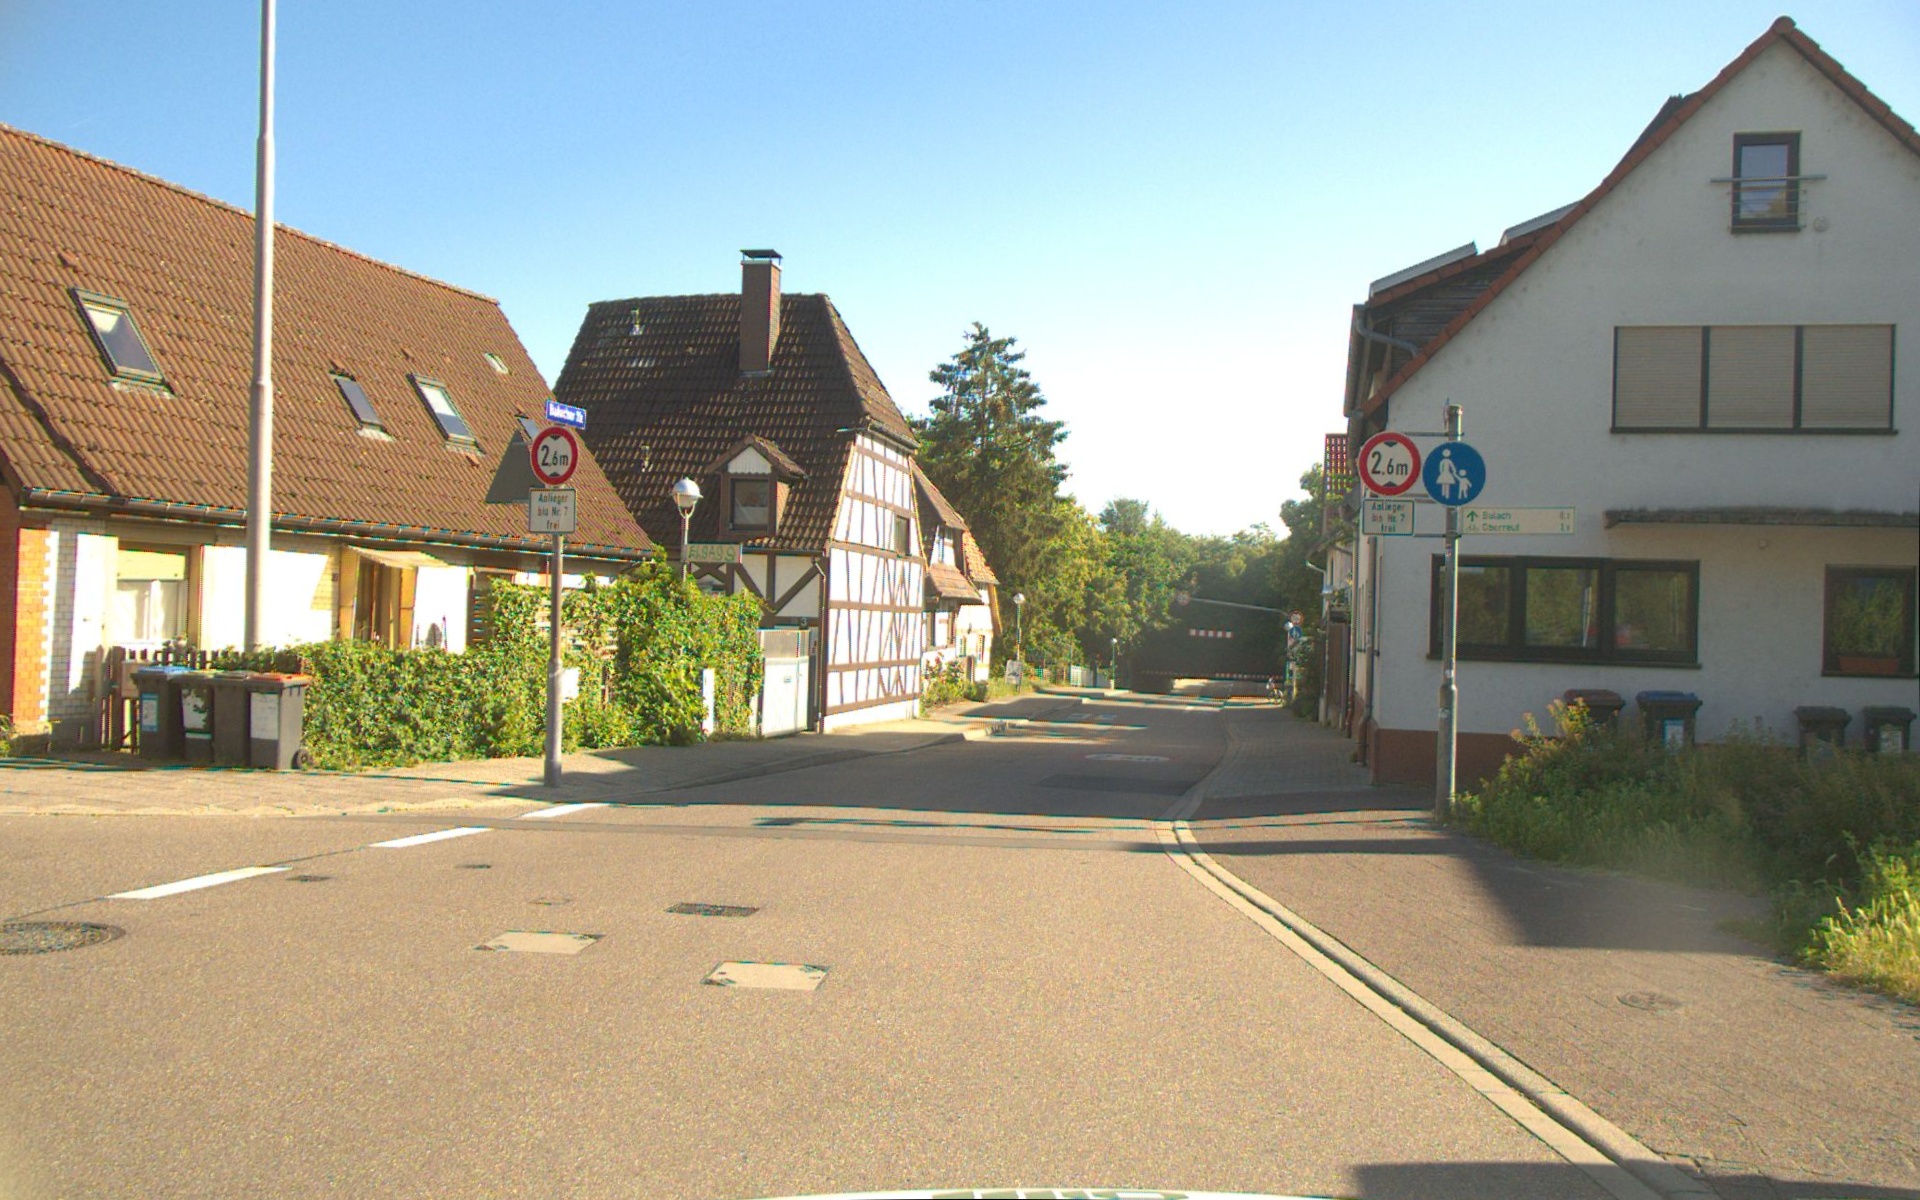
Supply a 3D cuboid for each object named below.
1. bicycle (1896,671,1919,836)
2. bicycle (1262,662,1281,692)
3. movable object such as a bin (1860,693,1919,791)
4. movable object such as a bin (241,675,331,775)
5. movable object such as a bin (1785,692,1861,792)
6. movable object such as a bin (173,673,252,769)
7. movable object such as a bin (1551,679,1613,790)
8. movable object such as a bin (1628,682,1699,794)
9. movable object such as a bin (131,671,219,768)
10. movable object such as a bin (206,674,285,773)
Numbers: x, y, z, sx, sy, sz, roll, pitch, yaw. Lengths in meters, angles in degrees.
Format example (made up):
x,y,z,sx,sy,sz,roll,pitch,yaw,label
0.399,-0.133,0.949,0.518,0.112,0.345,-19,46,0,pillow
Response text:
x,y,z,sx,sy,sz,roll,pitch,yaw,label
8.529,1.262,13.185,1.700,1.306,0.701,2,-1,7,bicycle
13.004,3.219,69.136,0.674,1.177,1.540,-3,-2,9,bicycle
10.014,1.511,17.695,0.487,0.994,0.594,1,-1,9,movable object such as a bin
-6.755,1.247,16.593,0.544,0.941,0.626,1,-1,17,movable object such as a bin
9.282,1.520,17.805,0.518,1.000,0.670,1,-1,9,movable object such as a bin
-7.620,1.223,16.869,0.403,0.922,0.626,1,0,17,movable object such as a bin
6.838,1.468,18.212,0.470,1.142,0.749,1,-1,9,movable object such as a bin
7.626,1.483,17.941,0.515,1.142,0.749,1,-1,9,movable object such as a bin
-8.067,1.218,17.004,0.497,0.941,0.626,1,-1,17,movable object such as a bin
-7.225,1.241,16.736,0.402,0.941,0.626,1,-1,17,movable object such as a bin
